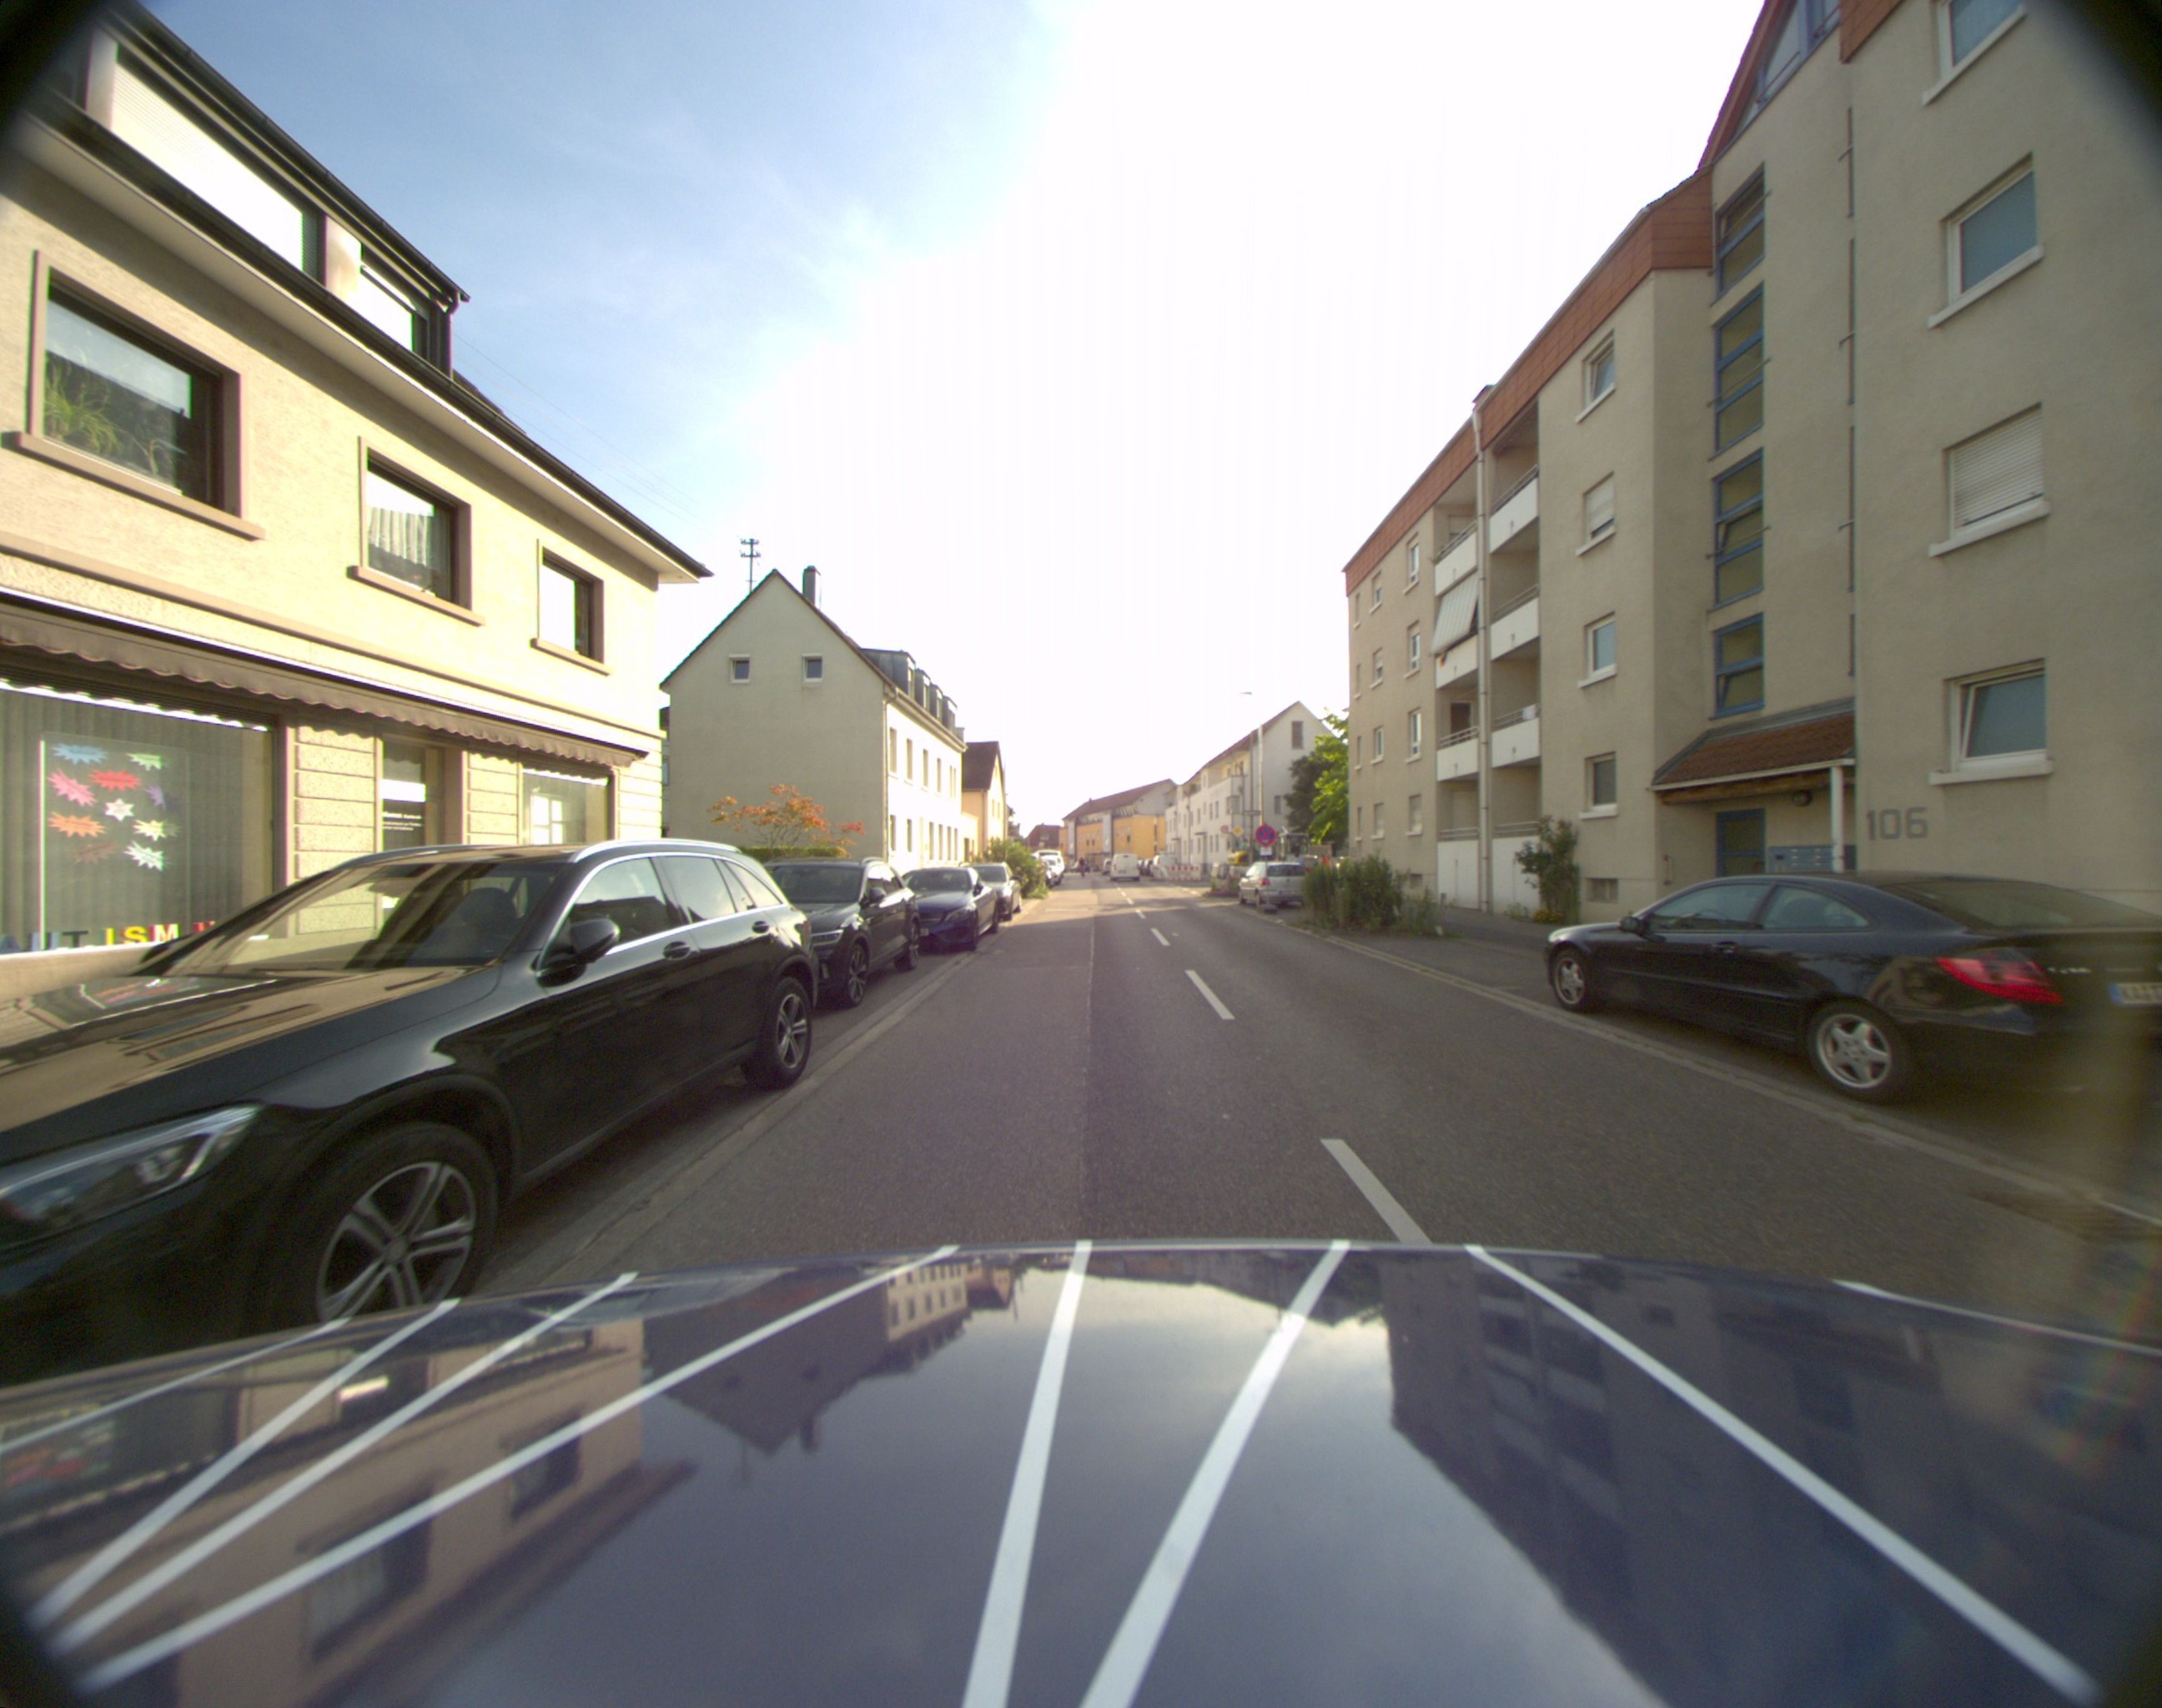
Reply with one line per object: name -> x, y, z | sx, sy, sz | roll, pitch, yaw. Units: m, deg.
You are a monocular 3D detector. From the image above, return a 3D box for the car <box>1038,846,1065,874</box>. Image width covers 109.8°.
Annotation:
car -> -2.505, 0.502, 65.154 | 2.180, 2.313, 4.997 | 1, -1, -1

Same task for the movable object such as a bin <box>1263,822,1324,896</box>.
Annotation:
movable object such as a bin -> 9.578, 0.235, 34.468 | 1.652, 3.119, 3.900 | 0, 0, 0

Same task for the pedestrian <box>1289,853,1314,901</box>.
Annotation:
pedestrian -> 8.520, 0.869, 29.380 | 0.720, 1.808, 0.745 | -1, 0, 2

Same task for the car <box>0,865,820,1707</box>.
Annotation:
car -> -2.913, 0.893, 3.417 | 1.834, 1.620, 4.463 | 0, 0, 1

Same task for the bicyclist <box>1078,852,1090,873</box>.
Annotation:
bicyclist -> 0.262, 0.681, 60.719 | 0.845, 1.679, 0.877 | -1, 0, -5

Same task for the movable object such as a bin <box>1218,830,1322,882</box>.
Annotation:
movable object such as a bin -> 11.138, 0.119, 44.863 | 5.516, 2.883, 2.110 | -1, 0, -11

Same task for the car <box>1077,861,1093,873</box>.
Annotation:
car -> 0.463, 1.602, 93.897 | 1.835, 1.412, 4.208 | 0, 0, -3

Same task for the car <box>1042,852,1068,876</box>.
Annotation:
car -> -1.987, 0.740, 58.712 | 1.782, 1.731, 4.483 | 2, 0, 0

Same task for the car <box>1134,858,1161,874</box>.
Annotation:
car -> 6.260, 1.114, 72.060 | 1.732, 1.469, 4.261 | -3, 0, -6

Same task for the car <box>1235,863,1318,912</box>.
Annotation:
car -> 6.061, 0.995, 23.943 | 1.644, 1.387, 3.671 | -1, 0, 0

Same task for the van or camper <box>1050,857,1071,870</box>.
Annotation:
van or camper -> -3.248, 1.458, 120.226 | 2.001, 1.991, 4.914 | -1, 0, -17

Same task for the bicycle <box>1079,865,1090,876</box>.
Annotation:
bicycle -> 0.249, 1.282, 60.611 | 0.680, 0.849, 2.026 | -1, 0, -5

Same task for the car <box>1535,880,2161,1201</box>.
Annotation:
car -> 5.487, 0.976, 5.726 | 1.690, 1.397, 4.084 | -1, 0, 0

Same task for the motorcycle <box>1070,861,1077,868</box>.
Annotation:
motorcycle -> -1.262, 1.803, 127.534 | 0.584, 1.175, 1.875 | -1, 0, -19

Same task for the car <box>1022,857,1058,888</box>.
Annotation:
car -> -2.116, 0.935, 40.391 | 1.593, 1.519, 4.613 | 1, 0, 1

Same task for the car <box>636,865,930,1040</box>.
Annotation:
car -> -3.180, 0.943, 9.168 | 1.834, 1.551, 4.317 | 0, 0, 0

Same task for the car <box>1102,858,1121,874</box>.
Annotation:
car -> 2.866, 1.082, 71.441 | 1.622, 1.446, 3.685 | 0, 0, -1

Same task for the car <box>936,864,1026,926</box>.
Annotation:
car -> -2.538, 1.000, 20.288 | 1.784, 1.411, 4.496 | -1, 0, 0

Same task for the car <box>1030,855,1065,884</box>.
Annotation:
car -> -1.952, 0.892, 45.687 | 1.816, 1.674, 4.477 | 1, 0, 1

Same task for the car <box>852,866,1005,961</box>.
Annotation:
car -> -2.624, 0.975, 14.247 | 1.834, 1.412, 4.609 | 0, 0, 1

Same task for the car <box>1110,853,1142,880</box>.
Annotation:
car -> 3.043, 0.829, 51.712 | 1.927, 1.756, 4.338 | 1, 0, 0

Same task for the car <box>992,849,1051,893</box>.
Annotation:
car -> -2.653, 0.765, 35.090 | 2.080, 1.845, 4.612 | 1, -1, 4
